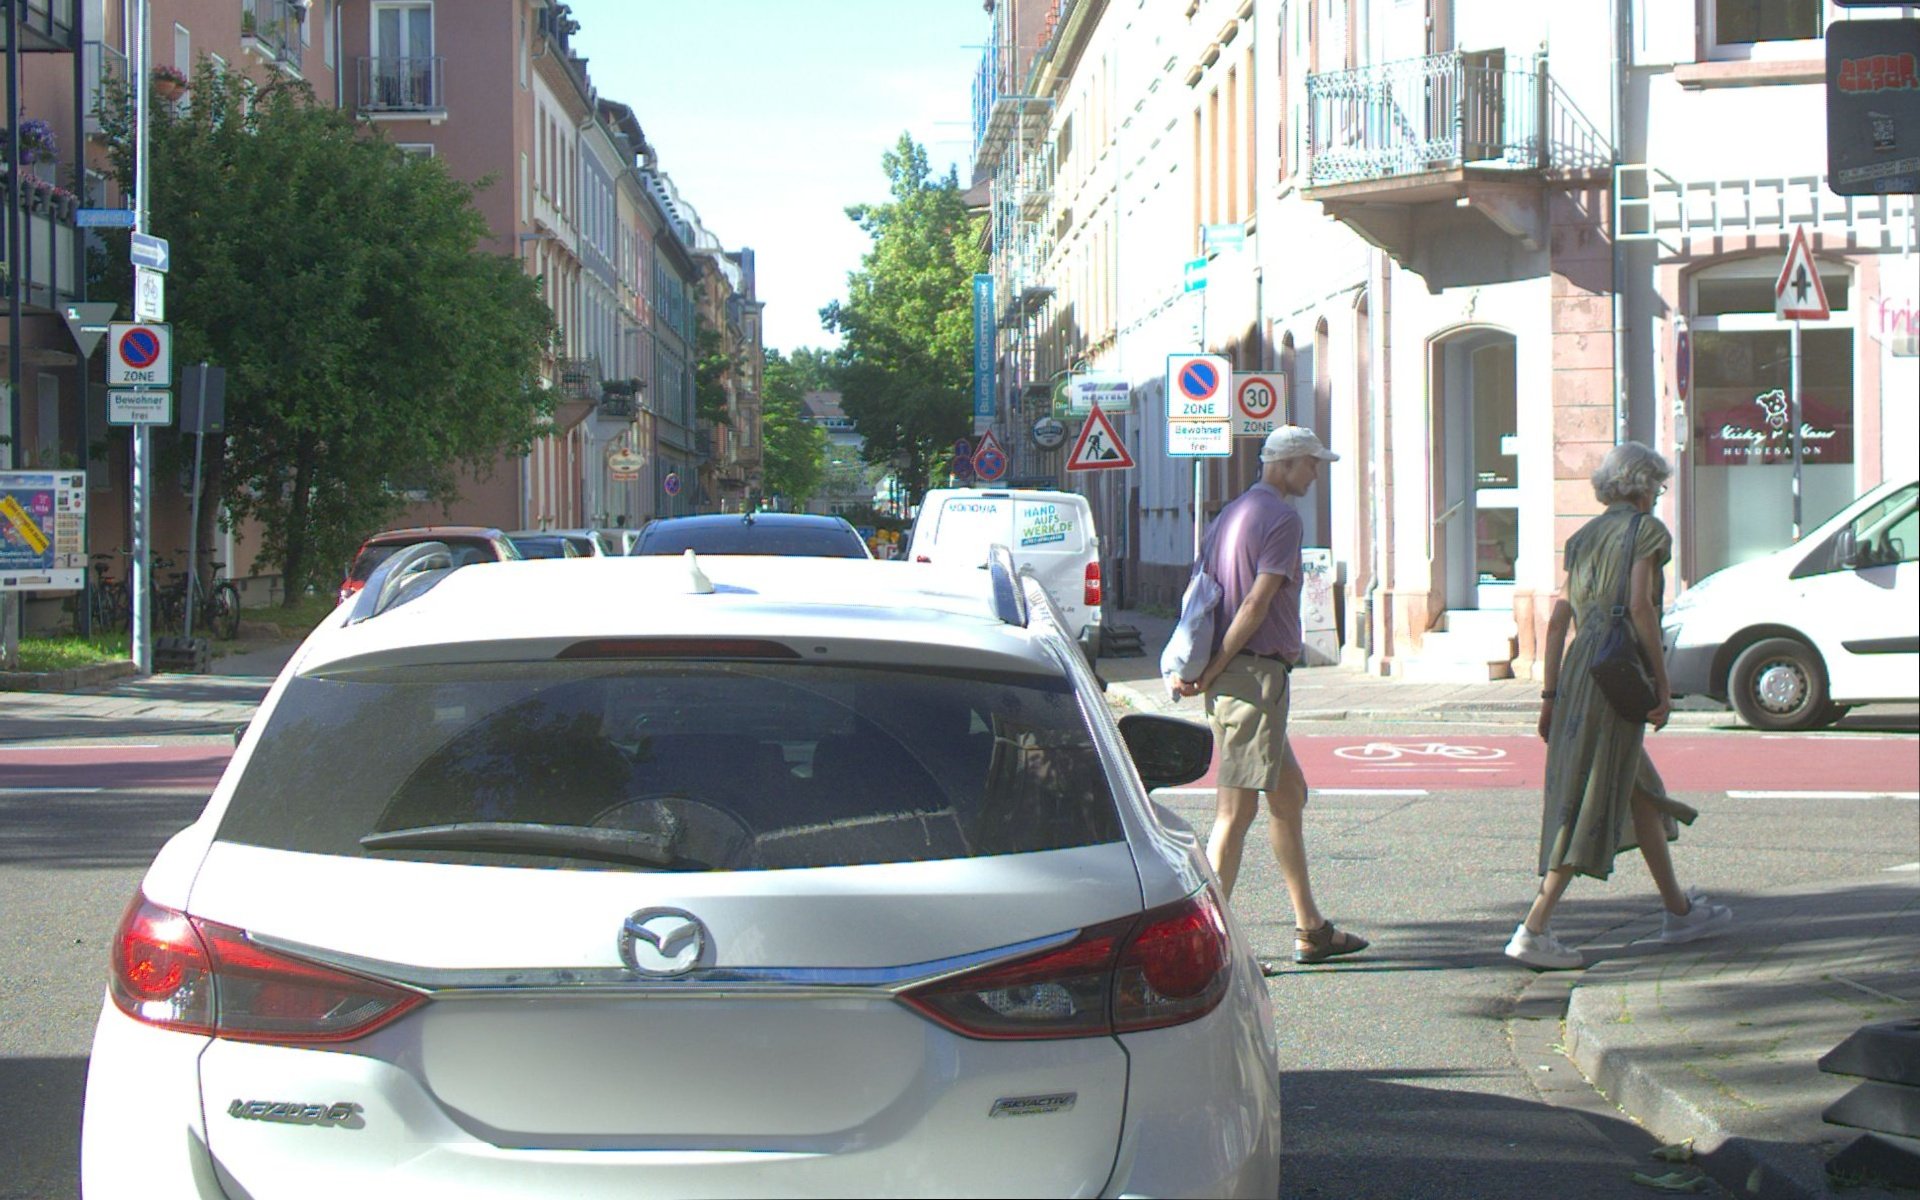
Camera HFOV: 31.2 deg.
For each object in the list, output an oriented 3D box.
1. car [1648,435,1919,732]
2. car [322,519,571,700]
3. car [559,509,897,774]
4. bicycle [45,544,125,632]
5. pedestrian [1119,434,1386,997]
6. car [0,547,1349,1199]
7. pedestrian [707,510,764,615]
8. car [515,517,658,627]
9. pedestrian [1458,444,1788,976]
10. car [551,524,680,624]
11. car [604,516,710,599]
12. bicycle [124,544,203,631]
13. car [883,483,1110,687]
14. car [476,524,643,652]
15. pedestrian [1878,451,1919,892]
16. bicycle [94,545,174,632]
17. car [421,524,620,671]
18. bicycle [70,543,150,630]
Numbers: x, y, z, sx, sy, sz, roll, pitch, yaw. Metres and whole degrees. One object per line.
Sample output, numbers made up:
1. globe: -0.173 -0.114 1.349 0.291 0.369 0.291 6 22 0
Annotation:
1. car: 7.329 -0.127 23.095 5.015 1.939 2.048 0 1 23
2. car: -4.560 0.038 31.017 1.685 1.495 3.807 -1 1 -1
3. car: -1.277 0.170 20.485 1.760 1.405 4.328 0 1 -1
4. bicycle: -10.746 -0.155 42.208 1.215 1.068 0.265 1 2 38
5. pedestrian: 0.940 0.355 11.237 0.749 1.758 0.831 1 1 -1
6. car: -0.445 0.649 6.354 1.831 1.452 3.962 0 1 -1
7. pedestrian: -3.492 -0.591 53.438 0.733 1.608 0.816 -1 1 -13
8. car: -5.263 -0.421 48.815 1.653 1.495 3.763 0 1 -1
9. pedestrian: 2.192 0.363 11.448 0.836 1.661 0.626 -4 -2 0
10. car: -5.298 -0.432 53.292 1.653 1.495 3.763 0 1 -1
11. car: -5.568 -0.806 63.561 1.653 1.495 3.763 0 1 -1
12. bicycle: -9.939 -0.166 42.881 1.218 1.068 0.253 1 2 38
13. car: 0.283 -0.198 34.684 1.894 1.853 5.015 2 1 -3
14. car: -4.877 -0.188 42.264 1.653 1.495 3.763 0 1 -1
15. pedestrian: 3.496 0.274 10.764 0.844 1.568 0.846 -6 0 -2
16. bicycle: -10.273 -0.150 42.737 1.215 1.068 0.253 1 2 38
17. car: -4.678 -0.070 37.070 1.653 1.495 4.080 0 1 -1
18. bicycle: -10.507 -0.173 42.476 1.215 1.067 0.253 1 2 38
